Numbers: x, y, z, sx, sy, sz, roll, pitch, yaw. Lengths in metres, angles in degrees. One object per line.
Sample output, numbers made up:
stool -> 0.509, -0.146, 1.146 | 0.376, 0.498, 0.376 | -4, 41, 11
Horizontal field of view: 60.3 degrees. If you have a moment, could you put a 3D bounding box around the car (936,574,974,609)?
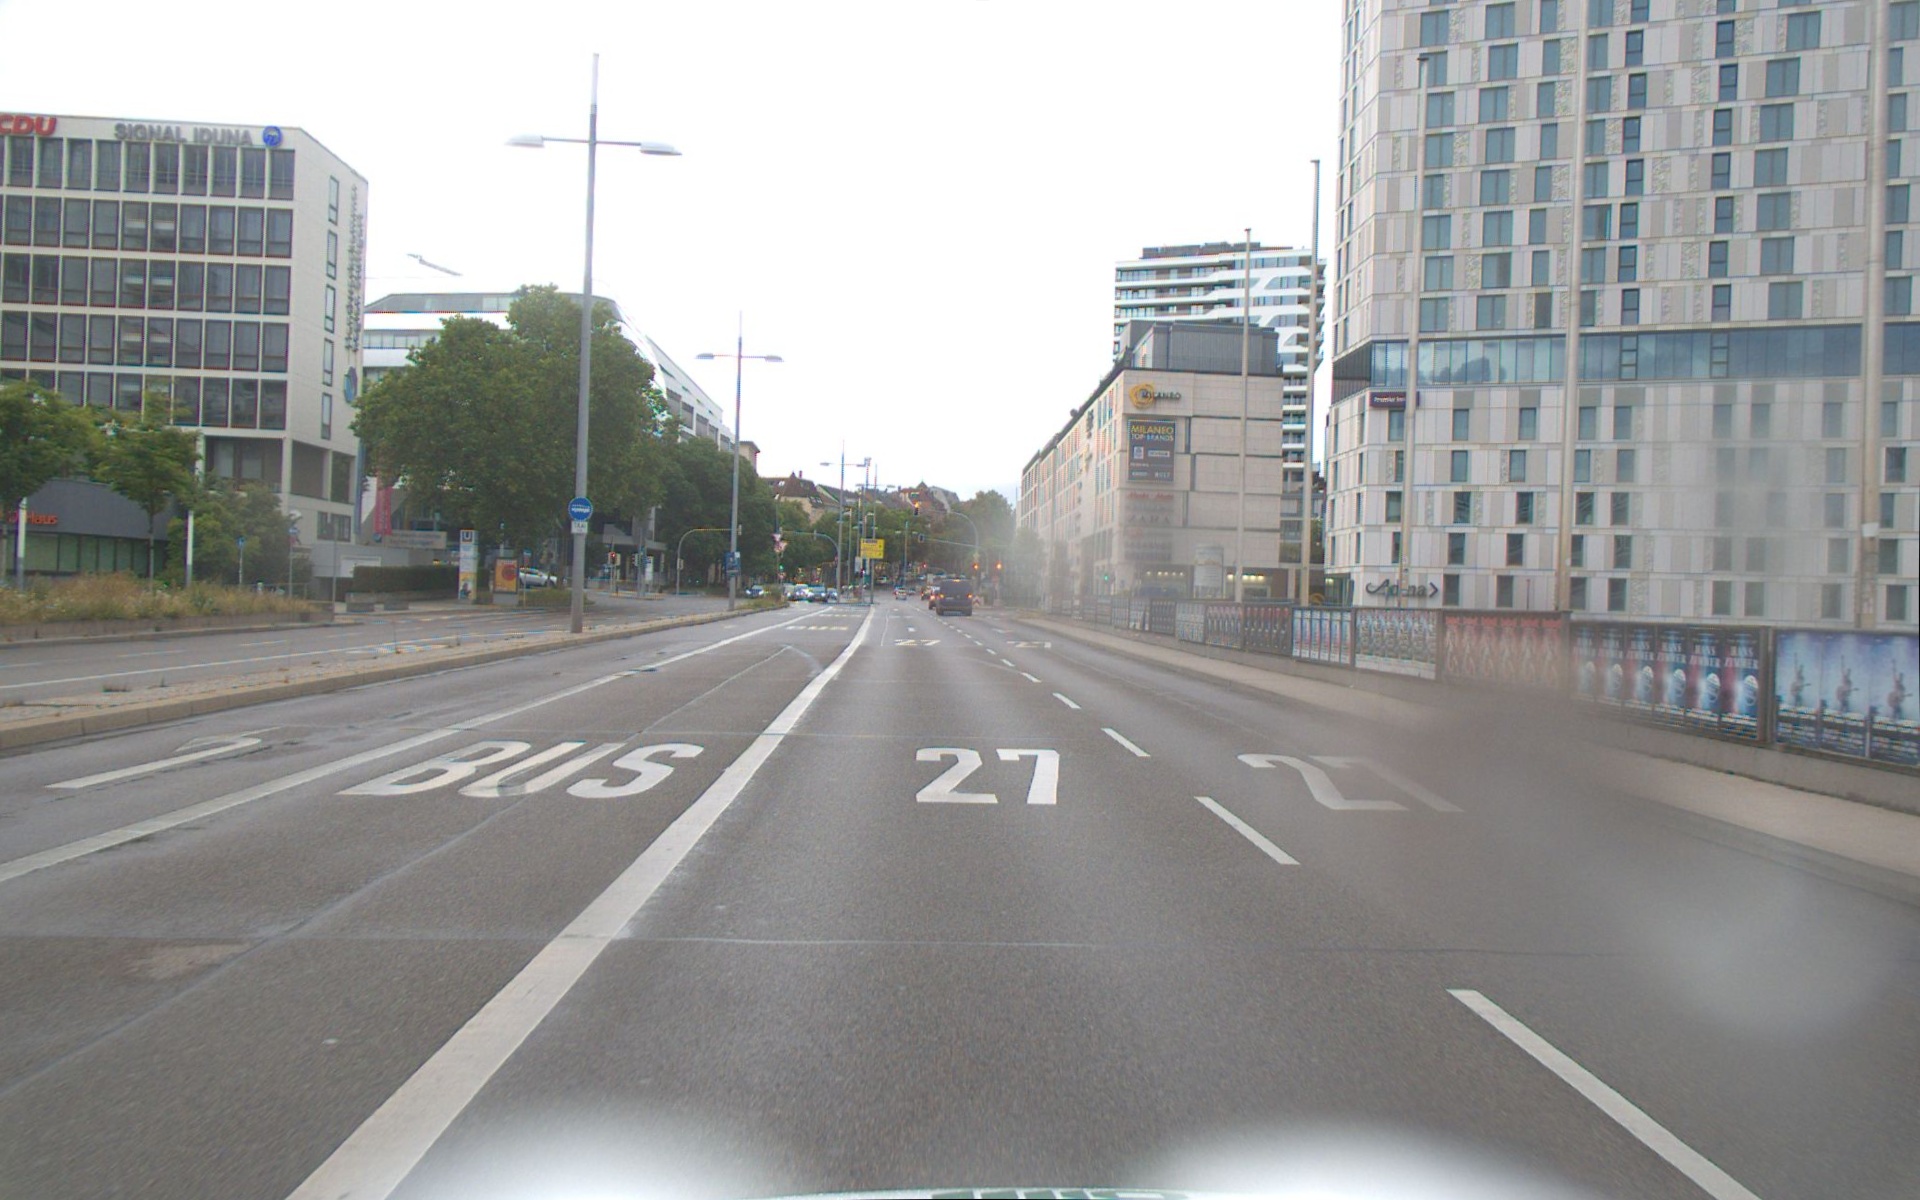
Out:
car -> -0.302, -0.507, 93.493 | 1.992, 1.915, 5.040 | -1, 1, -2

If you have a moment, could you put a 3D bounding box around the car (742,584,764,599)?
car -> -20.524, -0.820, 164.061 | 1.708, 1.352, 4.223 | 1, -1, -2

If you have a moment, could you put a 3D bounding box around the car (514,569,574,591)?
car -> -34.255, -1.631, 136.182 | 4.405, 1.660, 1.896 | 1, -1, 14

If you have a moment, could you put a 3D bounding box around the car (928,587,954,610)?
car -> -1.368, -0.116, 117.681 | 1.705, 1.558, 3.812 | 1, -1, -2

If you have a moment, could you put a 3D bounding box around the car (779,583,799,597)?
car -> -17.035, -1.018, 164.630 | 1.708, 1.279, 3.538 | 2, 0, -2

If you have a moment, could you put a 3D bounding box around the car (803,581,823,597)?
car -> -14.522, -1.065, 163.618 | 1.708, 1.470, 3.393 | 1, -1, -2

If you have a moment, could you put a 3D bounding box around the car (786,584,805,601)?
car -> -17.102, -0.774, 171.863 | 1.708, 1.586, 3.538 | 1, -1, -2

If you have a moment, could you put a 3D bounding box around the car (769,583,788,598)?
car -> -19.525, -1.019, 177.720 | 1.708, 1.586, 3.538 | 1, -1, -2

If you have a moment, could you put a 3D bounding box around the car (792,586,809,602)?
car -> -17.898, -0.668, 185.942 | 1.708, 1.779, 3.538 | 1, -1, -2
